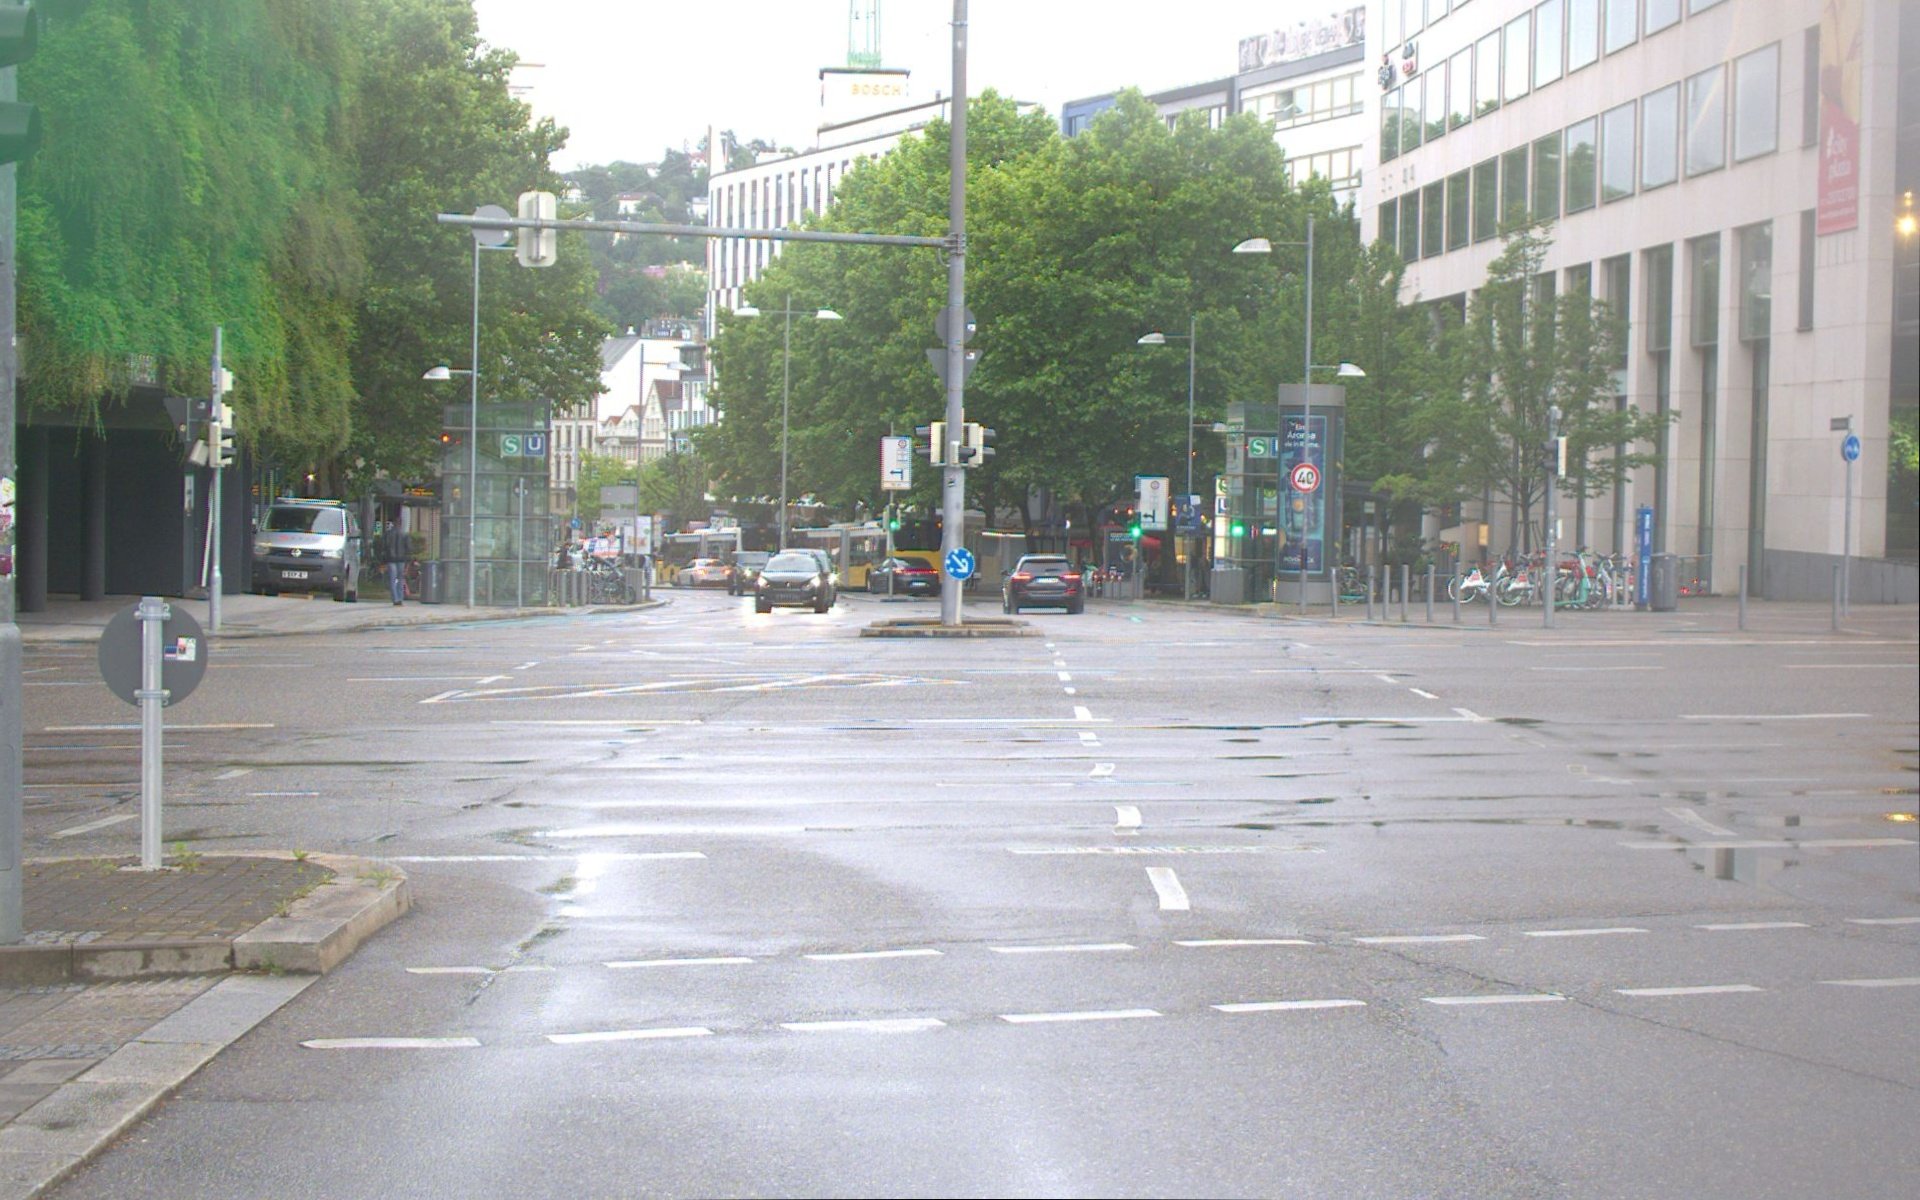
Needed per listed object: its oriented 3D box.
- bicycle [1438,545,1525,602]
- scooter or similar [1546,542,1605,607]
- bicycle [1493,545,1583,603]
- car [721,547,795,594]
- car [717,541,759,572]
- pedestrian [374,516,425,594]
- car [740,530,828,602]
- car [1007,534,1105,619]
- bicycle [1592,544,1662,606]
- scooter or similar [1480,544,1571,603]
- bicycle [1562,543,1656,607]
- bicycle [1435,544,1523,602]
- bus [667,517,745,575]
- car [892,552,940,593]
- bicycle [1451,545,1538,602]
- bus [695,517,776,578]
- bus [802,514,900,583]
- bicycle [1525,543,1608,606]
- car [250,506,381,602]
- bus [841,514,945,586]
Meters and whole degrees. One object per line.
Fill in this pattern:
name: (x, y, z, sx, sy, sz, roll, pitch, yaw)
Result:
bicycle: (11.127, -0.572, 73.392, 1.777, 1.190, 0.586, 1, 0, 2)
scooter or similar: (11.484, -0.478, 64.142, 0.963, 1.190, 0.454, 1, 1, 40)
bicycle: (12.026, -0.542, 71.589, 1.777, 1.190, 0.586, 1, 0, 2)
car: (-7.881, -1.142, 133.723, 2.163, 1.759, 5.113, 1, 1, -12)
car: (-10.842, -2.121, 168.028, 1.781, 1.503, 4.000, 1, 1, -1)
pedestrian: (-11.952, -0.958, 73.335, 0.933, 1.638, 0.774, 1, 0, -1)
car: (-4.510, -0.875, 87.711, 2.164, 1.759, 5.112, 1, 1, -3)
car: (2.376, -0.580, 83.935, 1.545, 2.007, 4.666, 1, 1, 12)
bicycle: (12.999, -0.484, 66.936, 0.586, 1.190, 1.779, 1, 1, 38)
scooter or similar: (11.673, -0.541, 70.966, 1.777, 1.190, 0.586, 1, 0, 2)
bicycle: (12.238, -0.474, 64.827, 1.624, 1.190, 0.586, 1, 0, 26)
bicycle: (10.979, -0.568, 72.758, 1.777, 1.190, 0.586, 1, 0, 2)
bus: (-13.370, -2.836, 180.311, 2.627, 2.985, 7.451, 0, 1, -16)
car: (-1.690, -1.055, 131.171, 1.781, 1.503, 4.000, 1, 1, -1)
bicycle: (11.556, -0.575, 74.310, 1.777, 1.190, 0.586, 1, 0, 2)
bus: (-11.354, -2.673, 173.215, 2.627, 2.985, 7.330, 0, 1, -16)
bus: (-4.912, -2.312, 153.071, 2.627, 2.985, 7.451, 0, 1, -16)
bicycle: (11.695, -0.497, 66.379, 0.584, 1.190, 1.783, 1, 1, -28)
car: (-12.774, -0.903, 68.313, 1.870, 1.833, 4.000, 1, 1, -1)
bus: (-2.899, -2.153, 145.925, 2.627, 2.985, 7.451, 0, 1, -16)
